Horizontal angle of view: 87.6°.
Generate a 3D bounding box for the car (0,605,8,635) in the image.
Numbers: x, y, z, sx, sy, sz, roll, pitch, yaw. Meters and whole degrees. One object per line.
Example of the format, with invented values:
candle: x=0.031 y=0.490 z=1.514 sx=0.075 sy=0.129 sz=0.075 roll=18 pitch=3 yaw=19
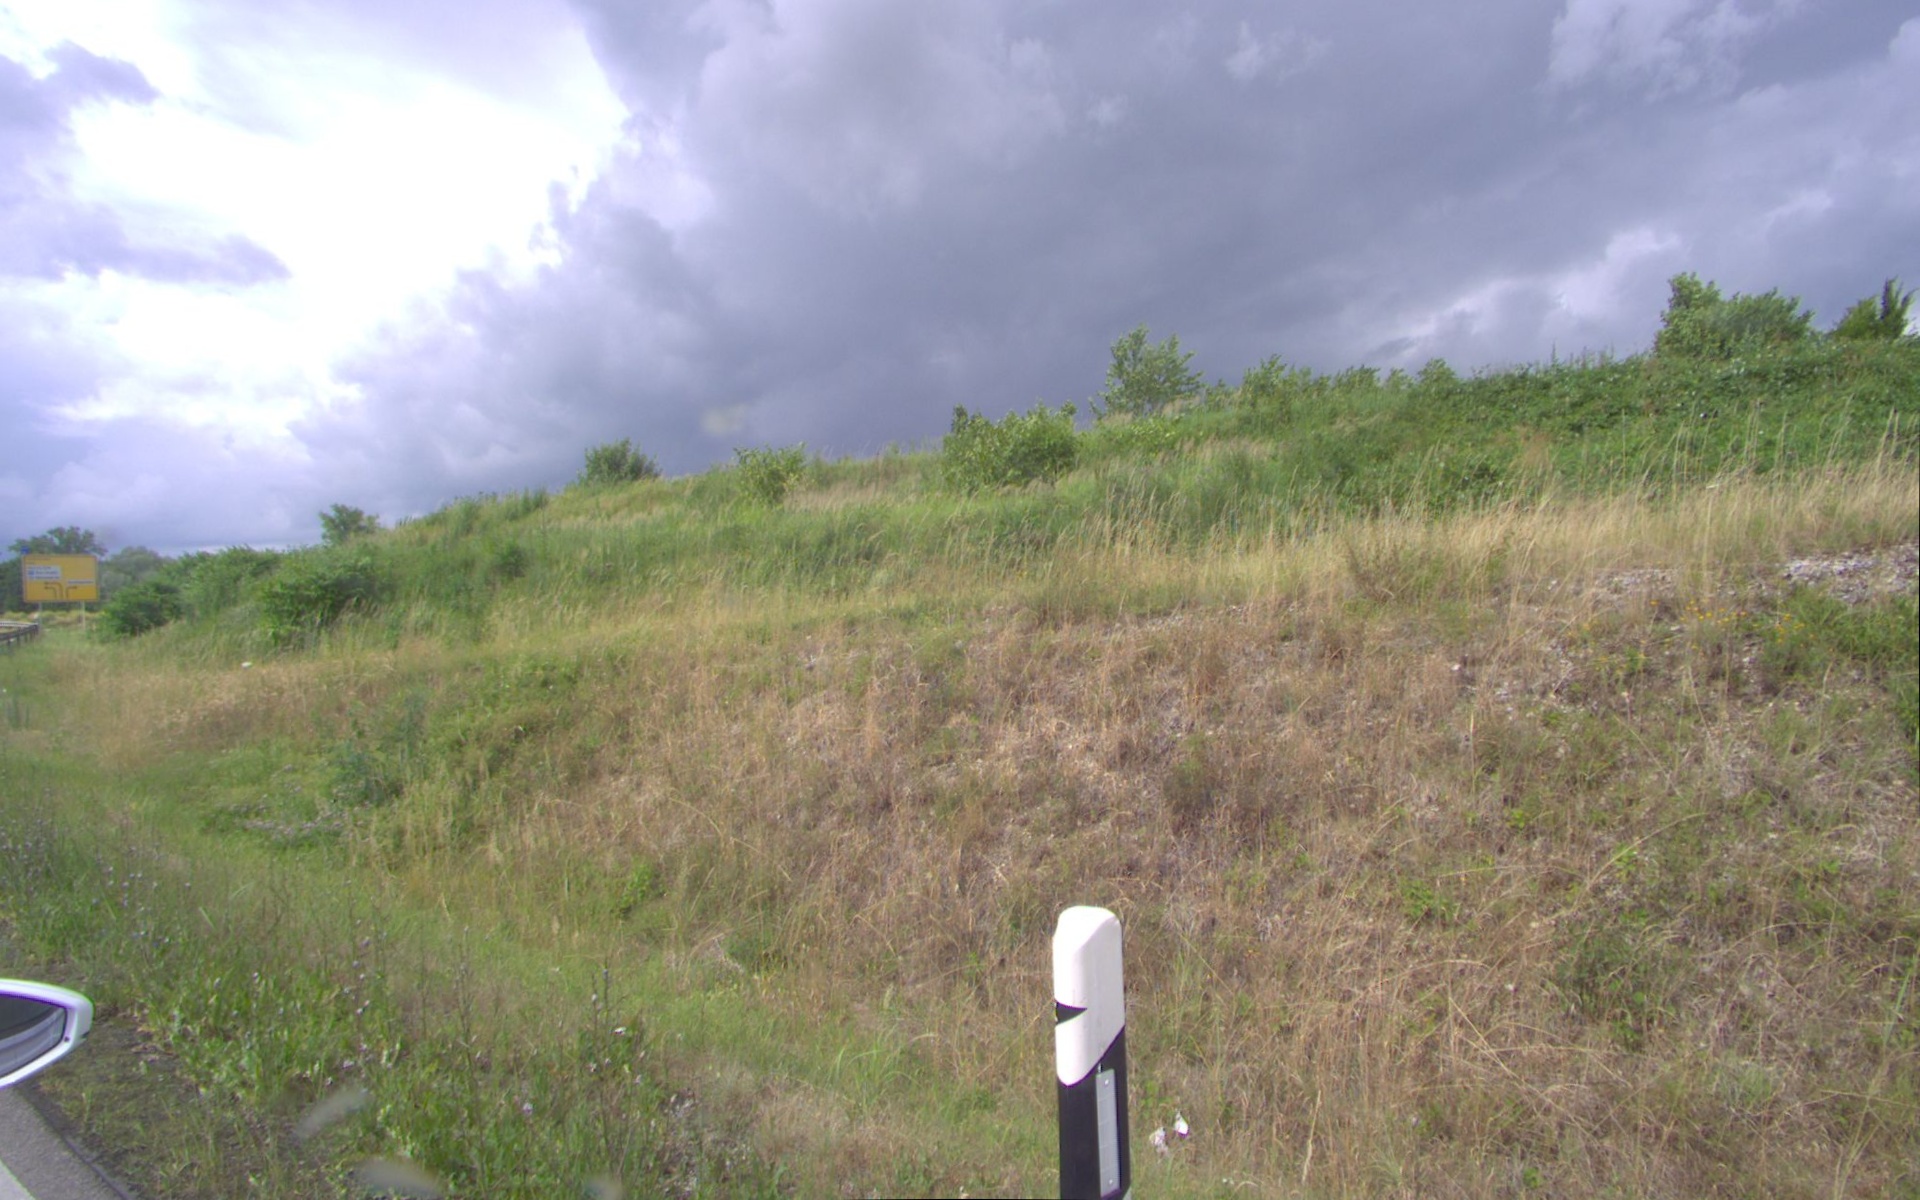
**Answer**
car: x=-63.557 y=1.315 z=65.173 sx=4.448 sy=1.906 sz=2.083 roll=-2 pitch=-2 yaw=44
